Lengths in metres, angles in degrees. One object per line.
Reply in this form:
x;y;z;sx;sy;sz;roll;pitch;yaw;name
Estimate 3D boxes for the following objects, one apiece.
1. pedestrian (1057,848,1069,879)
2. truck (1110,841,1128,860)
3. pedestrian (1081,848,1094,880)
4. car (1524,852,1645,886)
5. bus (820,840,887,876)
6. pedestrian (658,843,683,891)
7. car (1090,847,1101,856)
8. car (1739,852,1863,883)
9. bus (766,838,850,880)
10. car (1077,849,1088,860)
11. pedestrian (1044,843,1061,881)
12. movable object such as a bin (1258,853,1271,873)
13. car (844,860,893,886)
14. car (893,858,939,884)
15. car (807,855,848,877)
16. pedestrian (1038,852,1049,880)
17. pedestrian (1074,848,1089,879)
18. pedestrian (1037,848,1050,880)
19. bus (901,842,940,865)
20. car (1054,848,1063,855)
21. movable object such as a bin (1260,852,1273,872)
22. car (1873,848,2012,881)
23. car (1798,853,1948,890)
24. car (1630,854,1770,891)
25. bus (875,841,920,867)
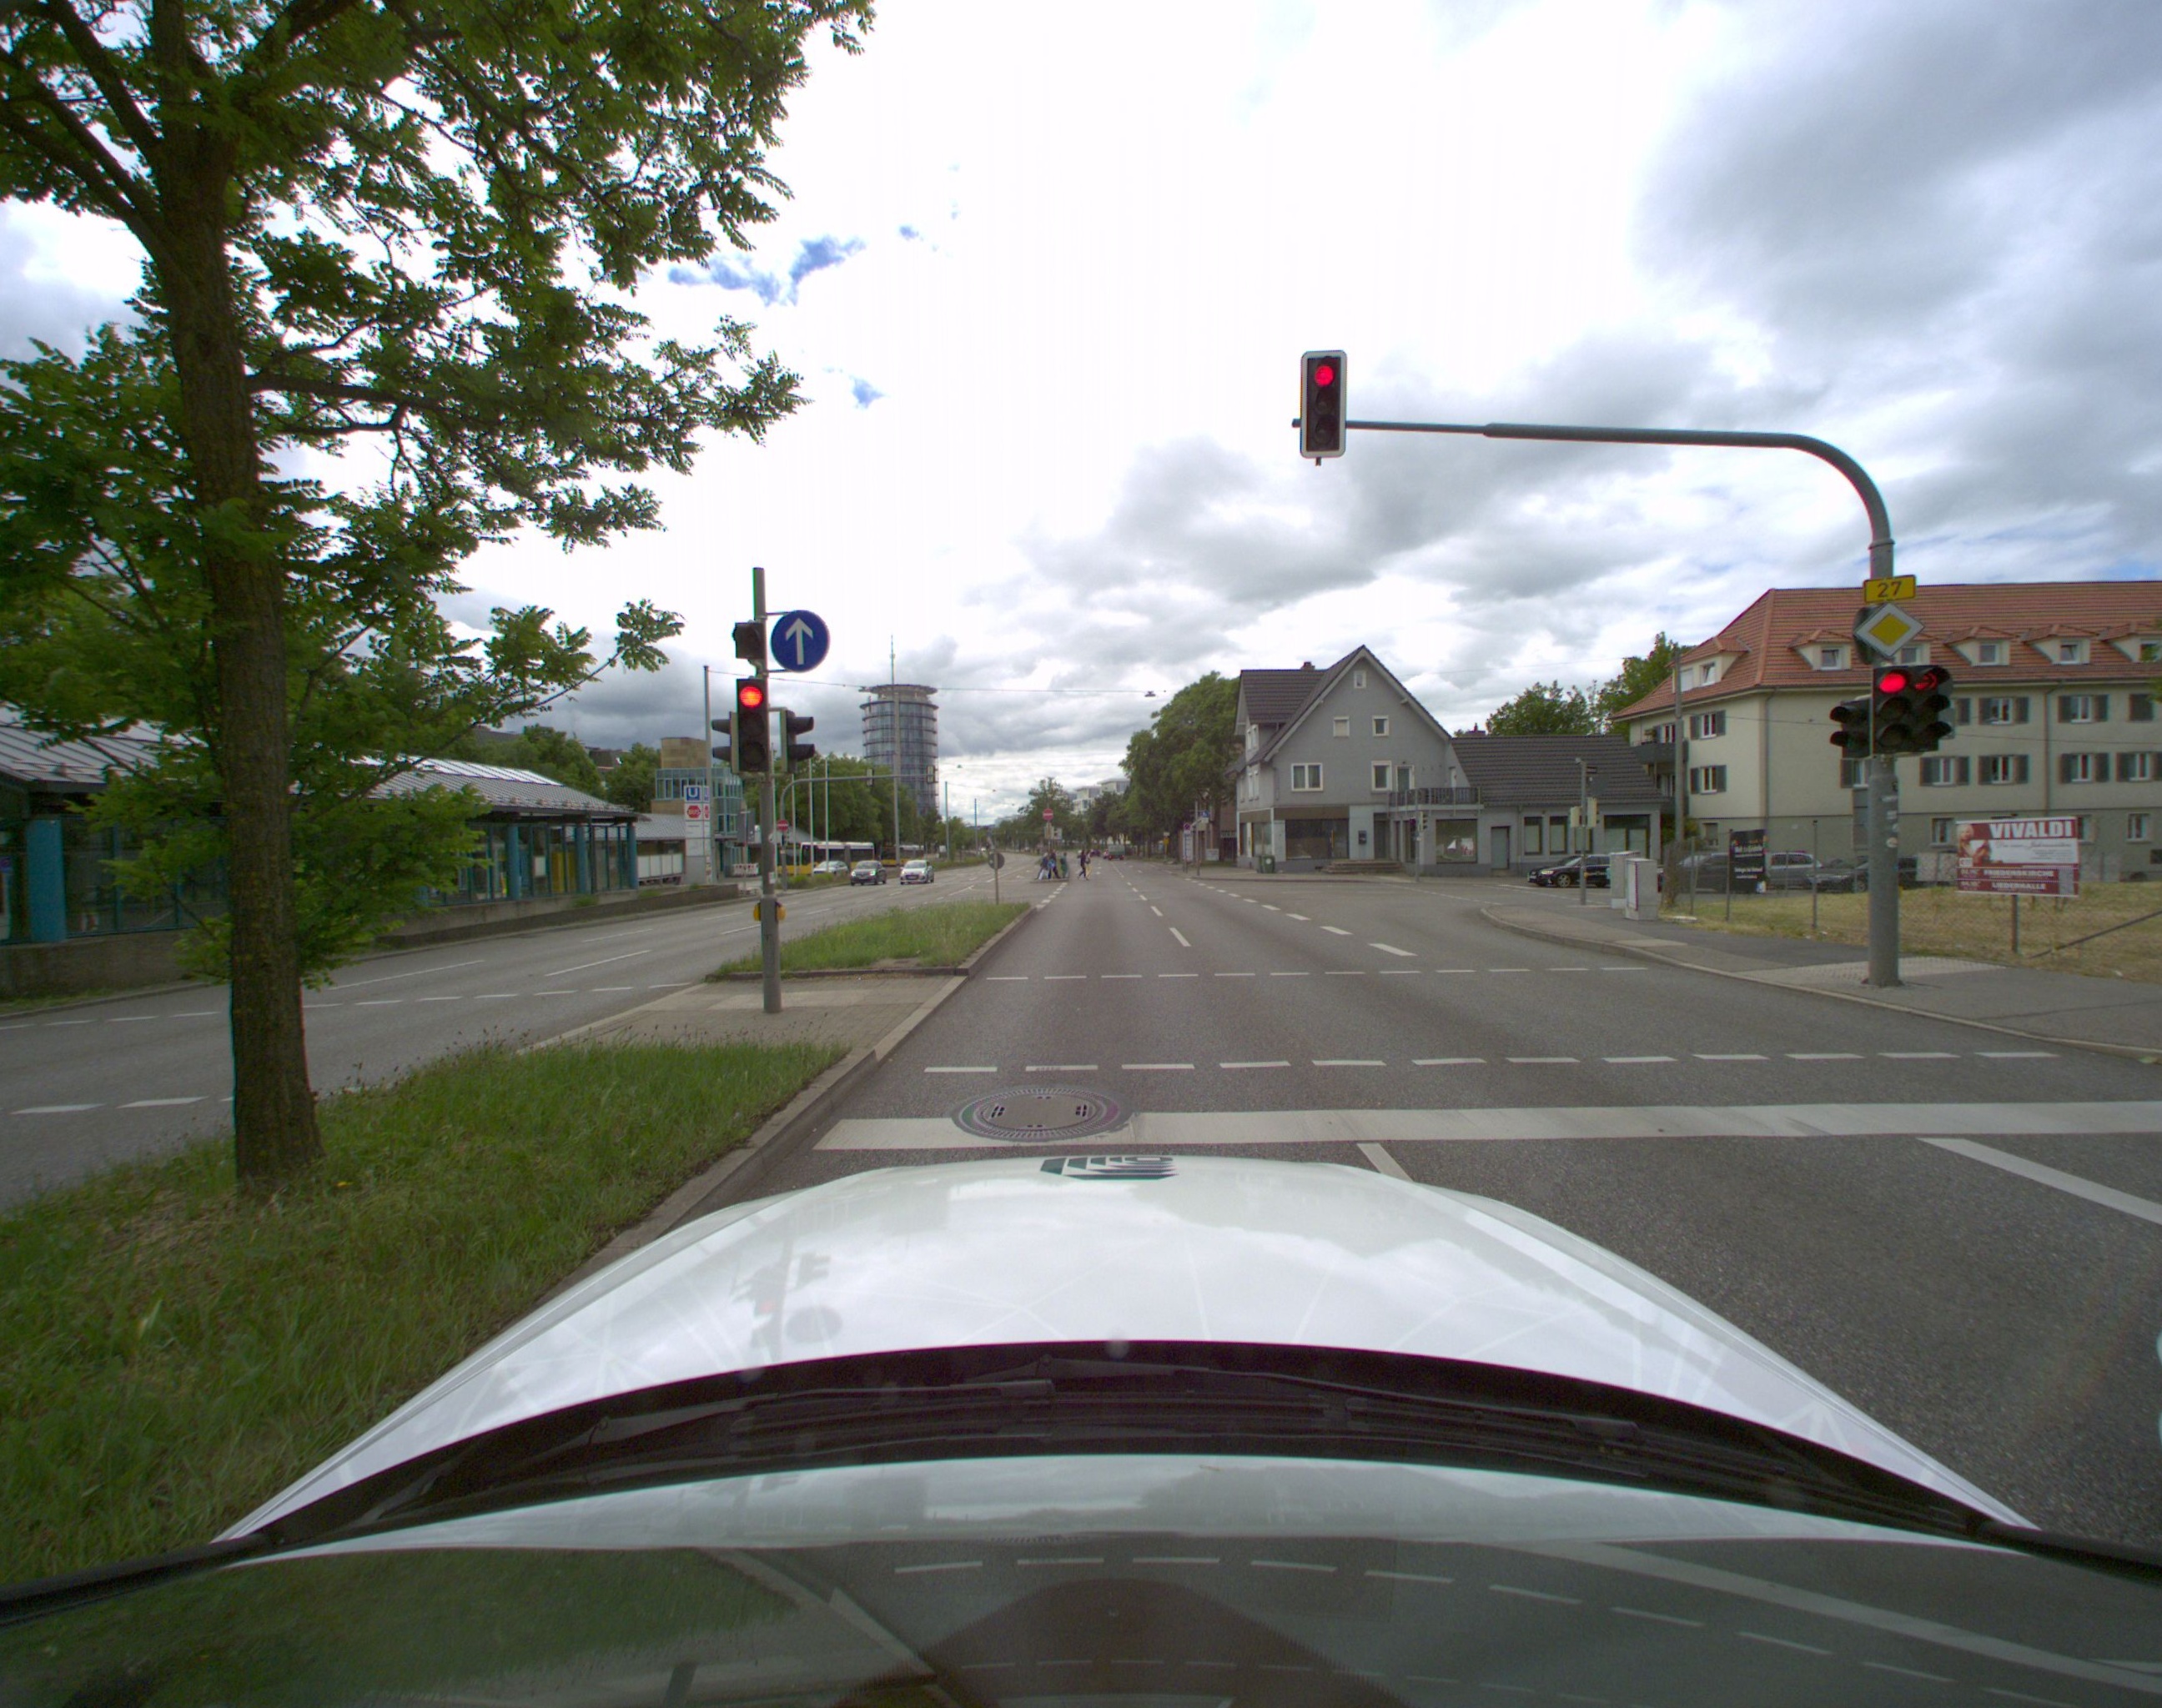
-1.019;0.543;46.413;0.582;1.716;0.545;-2;0;-5;pedestrian
5.389;-0.571;116.470;2.461;2.611;6.552;0;1;2;truck
0.348;0.529;44.556;0.652;1.716;0.451;-2;0;-6;pedestrian
21.374;0.612;34.664;4.075;1.371;1.800;0;0;0;car
-23.168;0.359;83.614;2.817;3.430;10.750;-2;0;6;bus
-17.545;0.555;34.804;0.680;2.013;0.645;-2;0;-3;pedestrian
2.727;-0.494;153.665;1.986;1.552;4.001;0;0;1;car
32.852;0.608;37.238;4.075;1.371;1.800;0;0;0;car
-24.239;0.384;73.120;2.817;3.430;10.750;-2;0;6;bus
0.309;0.061;148.290;1.986;1.830;4.001;-1;0;1;car
-1.528;0.404;43.913;0.829;2.013;0.545;-2;0;-6;pedestrian
9.992;0.483;44.350;0.613;1.043;0.590;0;0;3;movable object such as a bin
-13.478;1.195;51.849;1.987;1.486;4.000;-2;0;0;car
-10.355;1.041;51.345;1.987;1.486;4.000;-2;0;0;car
-20.237;0.939;65.110;1.798;1.662;4.003;-2;0;3;car
-2.040;0.646;44.702;0.542;1.496;0.485;-2;0;-7;pedestrian
0.040;0.520;45.040;0.744;1.716;0.582;-2;0;-6;pedestrian
-2.091;0.553;45.328;0.611;1.716;0.545;-2;0;-5;pedestrian
-24.618;-0.093;125.657;2.817;3.430;10.750;-2;0;6;bus
-4.850;-0.574;176.527;1.988;1.519;3.997;-2;0;-2;car
9.981;0.441;43.827;0.602;1.059;0.590;0;0;3;movable object such as a bin
36.638;0.444;34.710;4.075;1.371;1.800;0;0;0;car
30.567;0.675;31.504;4.075;1.371;1.800;0;0;0;car
23.764;0.693;31.372;4.075;1.371;1.800;0;0;0;car
-25.697;0.026;114.934;2.817;3.430;10.750;-2;0;6;bus
